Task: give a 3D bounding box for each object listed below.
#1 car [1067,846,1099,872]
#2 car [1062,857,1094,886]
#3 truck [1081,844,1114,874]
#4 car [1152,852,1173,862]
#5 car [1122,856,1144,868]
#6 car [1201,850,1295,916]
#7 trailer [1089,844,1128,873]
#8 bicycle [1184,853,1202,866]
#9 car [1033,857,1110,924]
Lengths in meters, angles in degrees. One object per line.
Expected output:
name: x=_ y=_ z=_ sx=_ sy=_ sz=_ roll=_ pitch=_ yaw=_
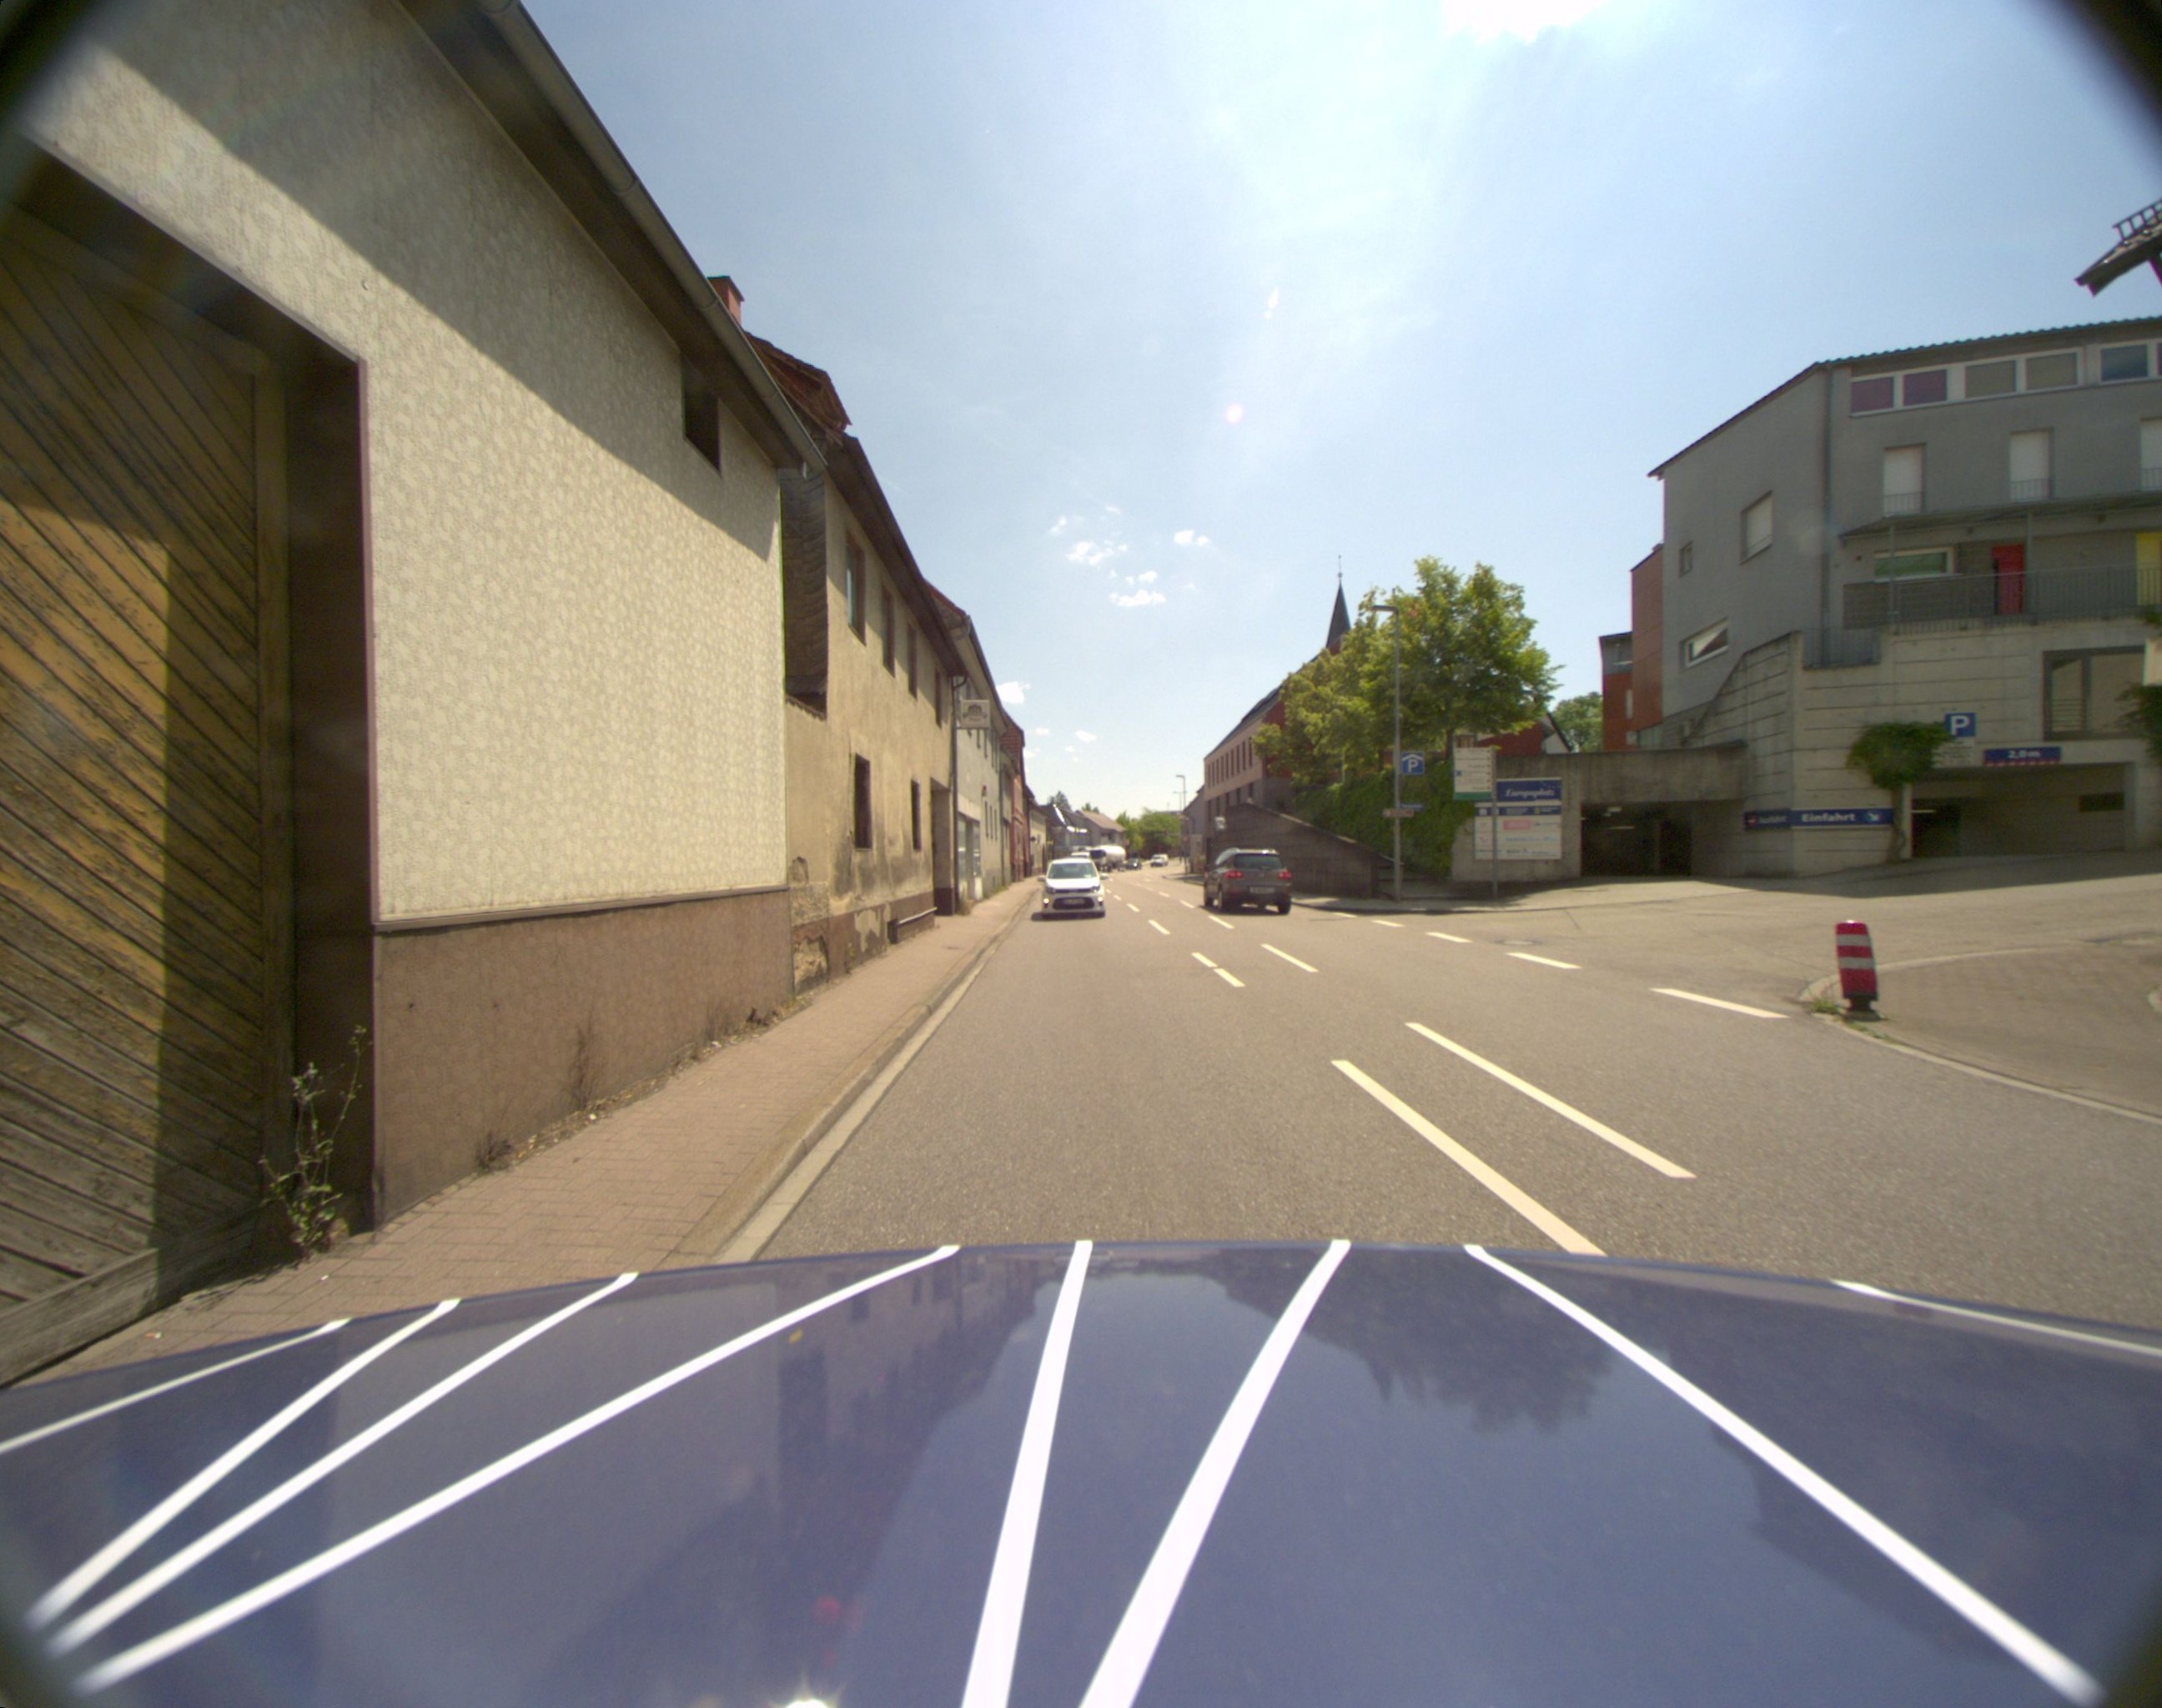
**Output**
car: x=0.251 y=0.488 z=78.528 sx=2.172 sy=2.548 sz=4.830 roll=-1 pitch=0 yaw=14
car: x=-0.190 y=0.969 z=44.401 sx=1.725 sy=1.541 sz=4.302 roll=-2 pitch=0 yaw=-1
truck: x=2.118 y=0.586 z=92.489 sx=2.845 sy=3.549 sz=5.474 roll=-1 pitch=0 yaw=14
car: x=13.412 y=0.497 z=124.555 sx=2.008 sy=1.621 sz=4.586 roll=-1 pitch=0 yaw=26
car: x=7.694 y=1.188 z=111.347 sx=2.008 sy=1.621 sz=4.584 roll=-1 pitch=0 yaw=20
car: x=4.450 y=0.726 z=20.806 sx=1.762 sy=1.626 sz=4.049 roll=0 pitch=0 yaw=1
trailer: x=3.693 y=0.538 z=99.140 sx=2.835 sy=3.549 sz=10.977 roll=-1 pitch=0 yaw=14
bicycle: x=11.847 y=0.605 z=80.272 sx=1.834 sy=1.241 sz=0.577 roll=-3 pitch=-2 yaw=-36
car: x=-0.161 y=0.893 z=20.626 sx=1.724 sy=1.541 sz=4.304 roll=-2 pitch=0 yaw=3
